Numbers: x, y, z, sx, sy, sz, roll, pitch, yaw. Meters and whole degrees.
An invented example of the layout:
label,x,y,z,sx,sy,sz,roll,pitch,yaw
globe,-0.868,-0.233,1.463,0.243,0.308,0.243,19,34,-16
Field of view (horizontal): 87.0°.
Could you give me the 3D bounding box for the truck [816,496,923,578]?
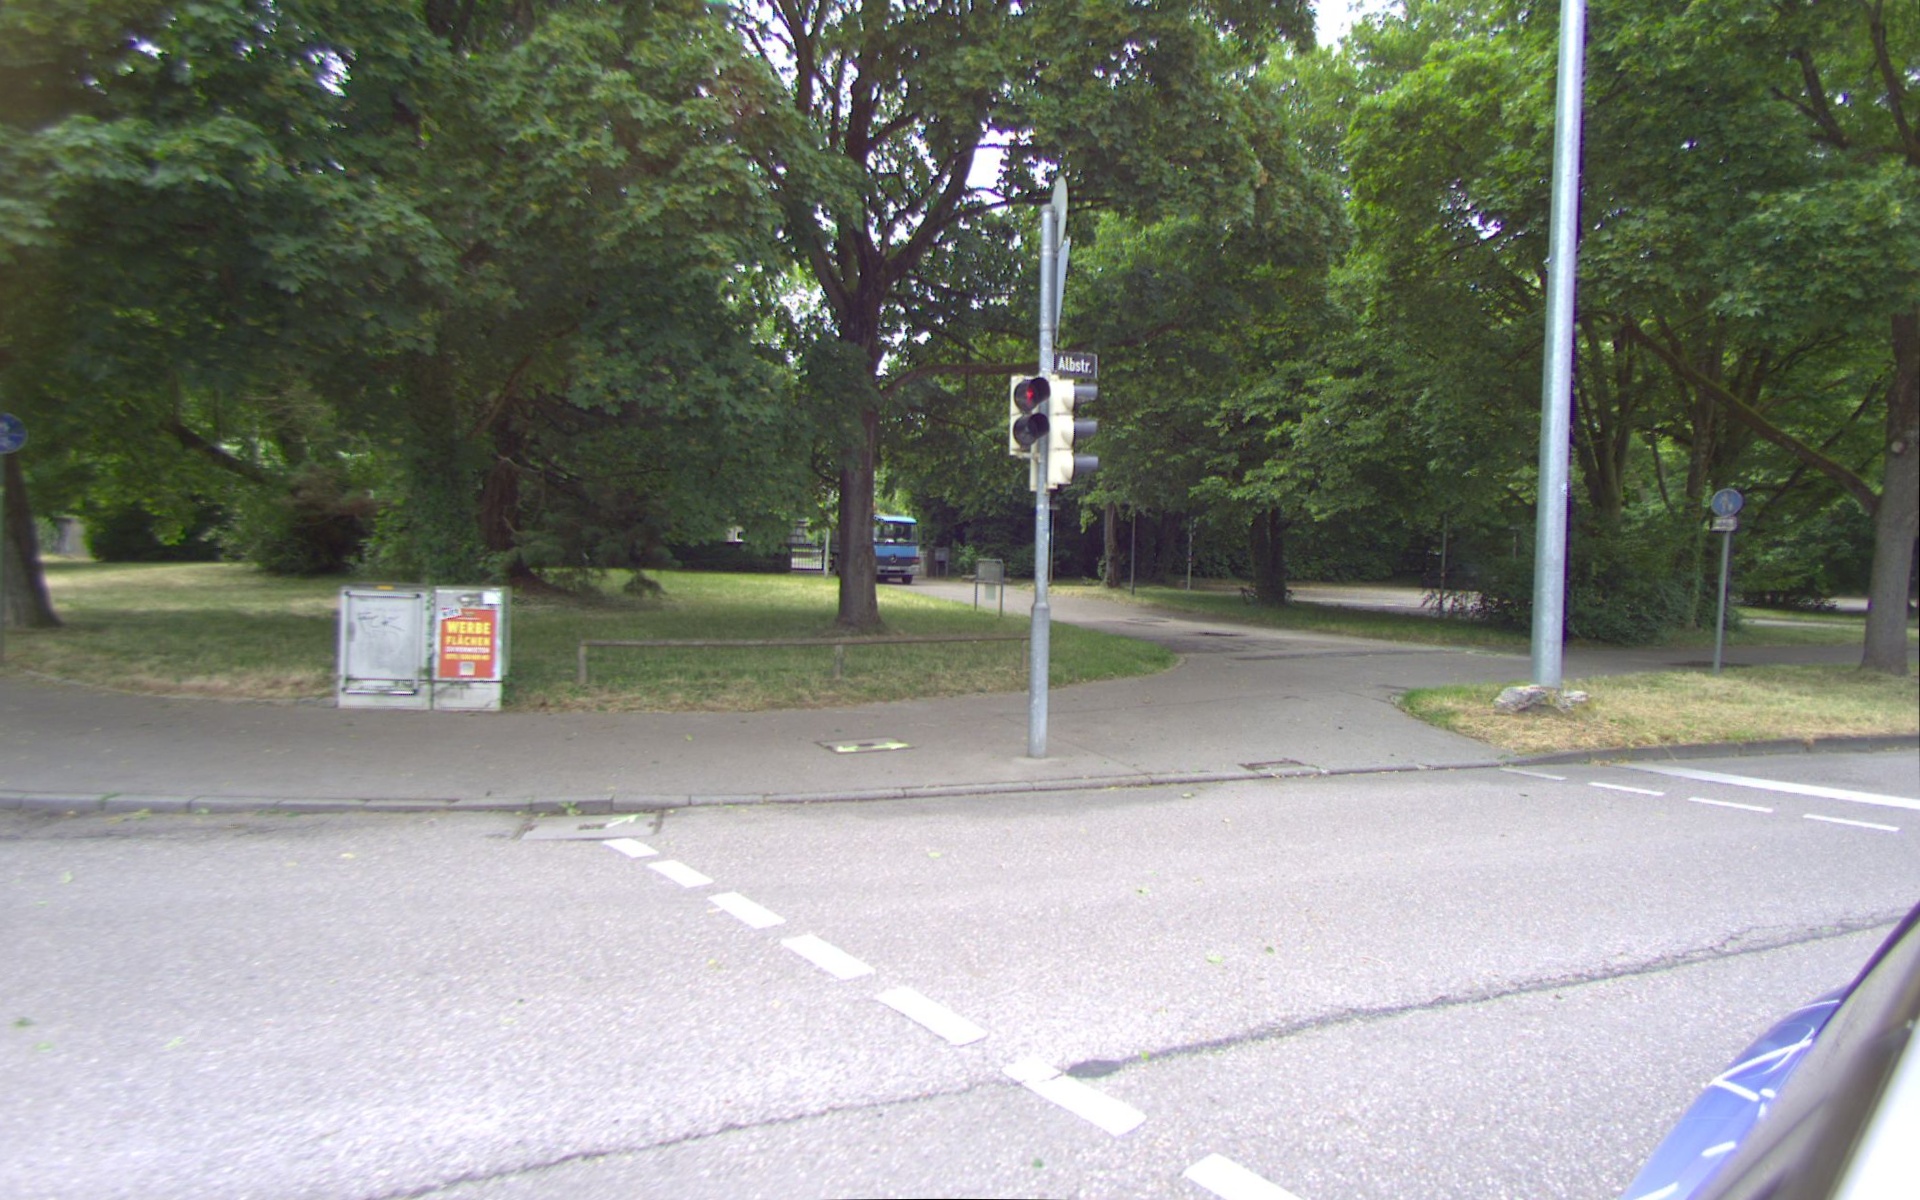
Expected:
label,x,y,z,sx,sy,sz,roll,pitch,yaw
truck,-3.747,-2.447,39.996,2.430,2.882,7.452,1,3,-19
